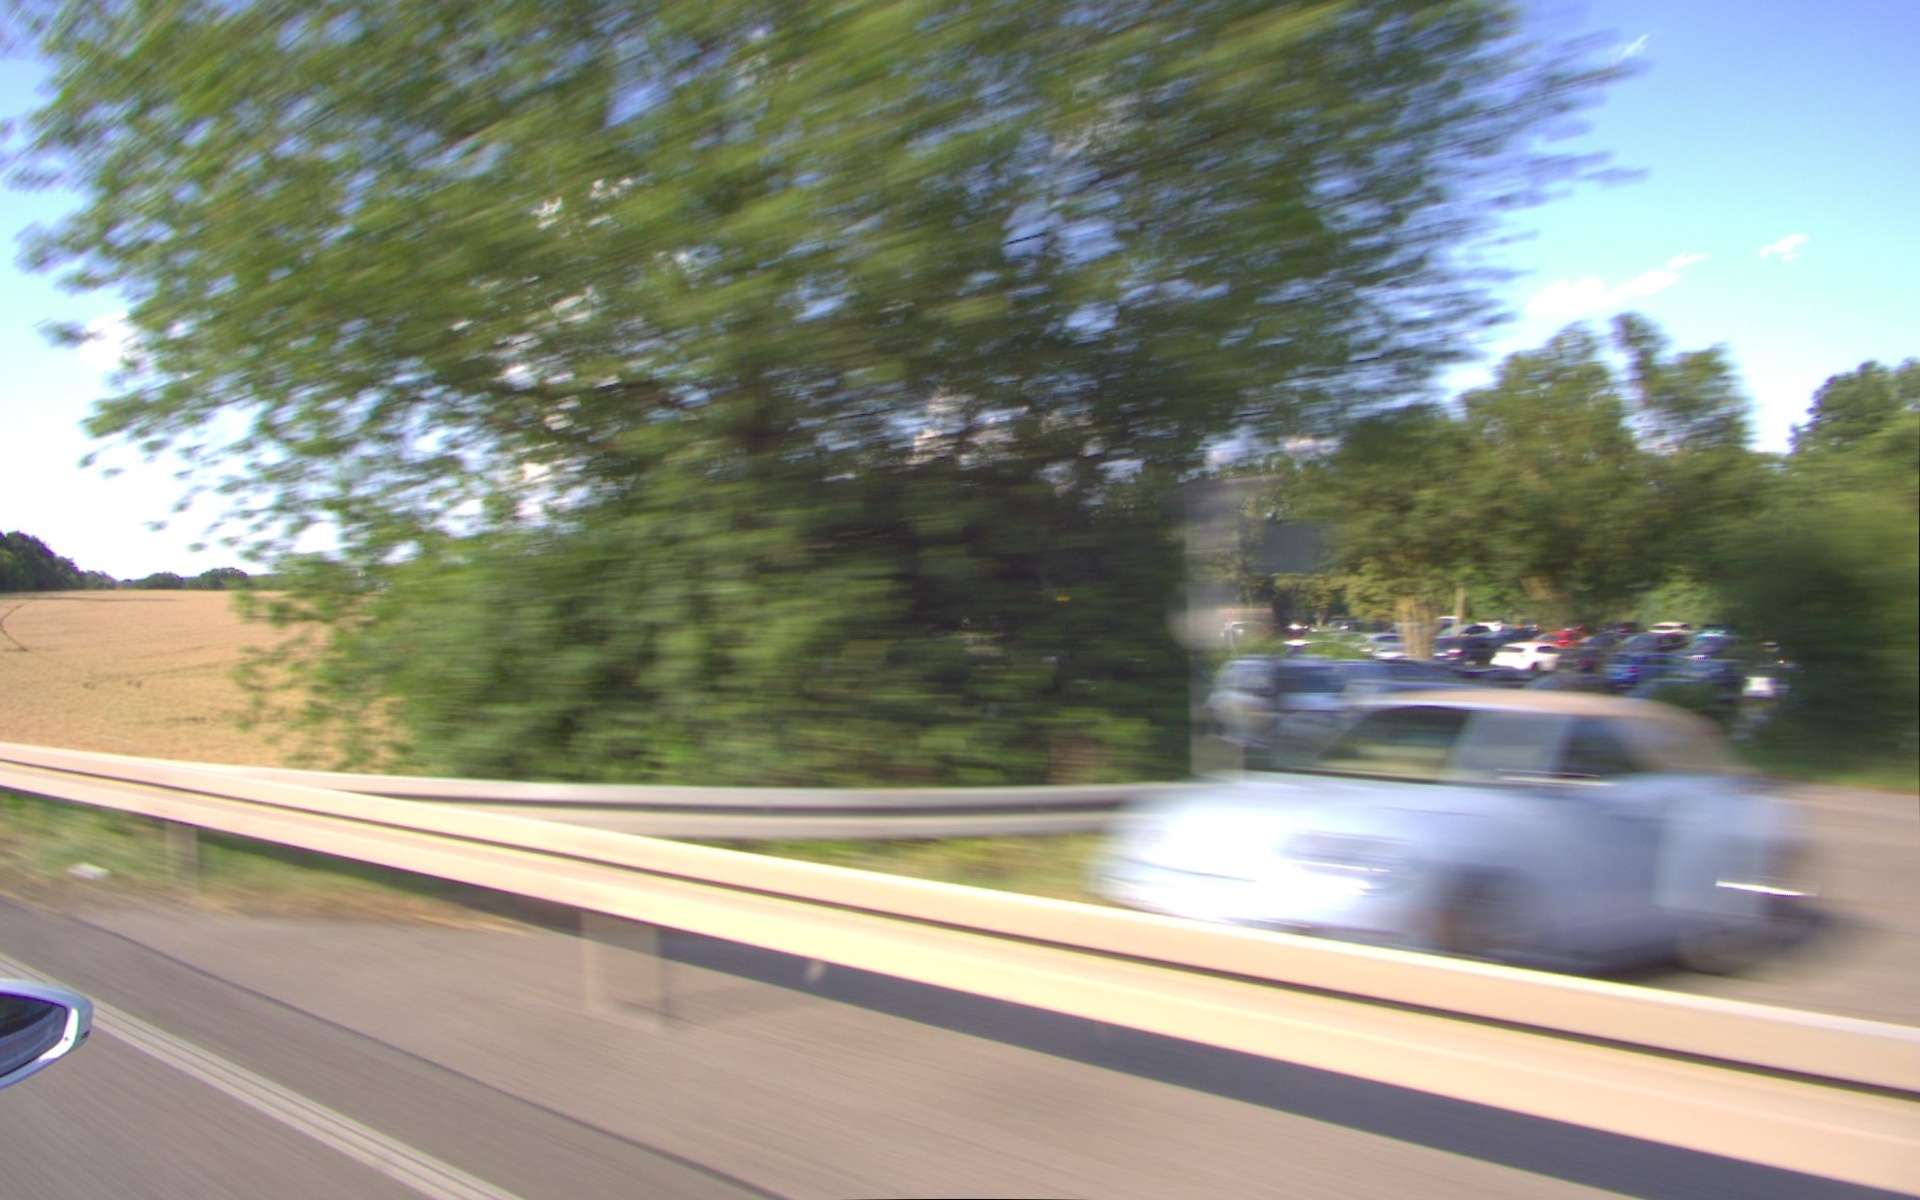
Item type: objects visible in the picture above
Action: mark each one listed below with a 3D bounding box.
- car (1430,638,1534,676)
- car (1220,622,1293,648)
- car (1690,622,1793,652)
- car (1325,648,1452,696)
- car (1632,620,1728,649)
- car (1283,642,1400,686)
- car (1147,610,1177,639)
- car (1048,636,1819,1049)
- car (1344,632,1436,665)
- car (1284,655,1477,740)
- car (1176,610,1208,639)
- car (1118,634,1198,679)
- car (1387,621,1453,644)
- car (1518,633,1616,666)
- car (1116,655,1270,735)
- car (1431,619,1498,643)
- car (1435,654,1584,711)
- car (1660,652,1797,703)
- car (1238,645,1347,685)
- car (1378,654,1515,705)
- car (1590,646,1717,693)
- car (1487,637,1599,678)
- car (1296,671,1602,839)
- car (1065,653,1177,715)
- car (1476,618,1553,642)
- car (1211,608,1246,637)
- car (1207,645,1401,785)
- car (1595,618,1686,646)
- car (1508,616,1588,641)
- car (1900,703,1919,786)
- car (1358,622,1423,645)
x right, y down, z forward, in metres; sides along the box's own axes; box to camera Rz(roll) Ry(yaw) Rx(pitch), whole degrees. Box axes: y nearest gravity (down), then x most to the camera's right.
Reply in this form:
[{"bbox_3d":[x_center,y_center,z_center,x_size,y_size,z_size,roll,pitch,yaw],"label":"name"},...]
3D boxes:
[{"bbox_3d":[25.035,2.691,48.046,4.516,1.713,1.800,0,-1,-18],"label":"car"},{"bbox_3d":[19.927,2.362,67.386,4.516,1.713,1.800,0,-1,-18],"label":"car"},{"bbox_3d":[45.286,2.113,58.080,4.507,1.713,1.804,0,-1,0],"label":"car"},{"bbox_3d":[16.766,2.788,39.186,4.516,1.713,1.800,0,-1,-18],"label":"car"},{"bbox_3d":[43.856,2.100,61.063,4.507,1.713,1.804,0,-1,0],"label":"car"},{"bbox_3d":[16.170,2.687,42.504,4.516,1.713,1.800,0,-1,-18],"label":"car"},{"bbox_3d":[17.269,2.052,85.764,2.316,2.272,5.666,-2,0,11],"label":"car"},{"bbox_3d":[2.629,1.161,5.469,3.951,1.572,1.674,6,-6,-25],"label":"car"},{"bbox_3d":[23.122,2.594,53.851,4.516,1.713,1.800,0,-1,-18],"label":"car"},{"bbox_3d":[7.975,1.810,19.437,1.777,1.459,3.935,1,-3,-6],"label":"car"},{"bbox_3d":[19.717,2.031,85.271,2.289,2.272,5.666,-2,0,11],"label":"car"},{"bbox_3d":[8.397,2.375,42.936,1.962,1.638,4.640,1,1,-8],"label":"car"},{"bbox_3d":[34.618,2.415,75.409,4.516,1.713,1.800,0,-1,-17],"label":"car"},{"bbox_3d":[32.994,2.690,54.491,4.510,1.713,1.802,0,-1,-10],"label":"car"},{"bbox_3d":[5.003,2.017,22.236,1.962,1.526,4.531,0,-2,-6],"label":"car"},{"bbox_3d":[37.418,2.279,74.273,4.516,1.713,1.800,0,-1,-18],"label":"car"},{"bbox_3d":[18.570,2.747,33.854,4.516,1.713,1.800,0,-1,-18],"label":"car"},{"bbox_3d":[28.510,2.831,37.163,4.516,1.713,1.800,0,-1,-18],"label":"car"},{"bbox_3d":[15.039,2.917,45.371,4.516,1.713,1.800,0,-1,-18],"label":"car"},{"bbox_3d":[17.771,2.872,36.621,4.516,1.713,1.800,0,-1,-18],"label":"car"},{"bbox_3d":[27.738,2.741,40.047,4.516,1.713,1.800,0,-1,-18],"label":"car"},{"bbox_3d":[26.148,2.562,44.941,4.516,1.713,1.800,0,-1,-18],"label":"car"},{"bbox_3d":[5.152,1.564,11.156,1.776,1.459,3.733,1,-3,4],"label":"car"},{"bbox_3d":[4.402,2.282,28.169,1.962,1.526,4.645,0,-2,-6],"label":"car"},{"bbox_3d":[39.514,2.111,71.439,4.507,1.713,1.804,0,-1,0],"label":"car"},{"bbox_3d":[22.293,1.819,83.379,2.316,2.272,5.666,-2,0,11],"label":"car"},{"bbox_3d":[5.260,1.674,15.922,1.776,1.770,4.218,0,0,3],"label":"car"},{"bbox_3d":[43.059,2.022,63.435,4.507,1.713,1.804,0,-1,0],"label":"car"},{"bbox_3d":[40.680,1.992,69.326,4.507,1.713,1.804,0,-1,0],"label":"car"},{"bbox_3d":[23.517,3.308,23.233,4.542,1.713,1.790,1,-1,-38],"label":"car"},{"bbox_3d":[33.251,2.568,77.378,4.516,1.713,1.800,0,-1,-17],"label":"car"}]
